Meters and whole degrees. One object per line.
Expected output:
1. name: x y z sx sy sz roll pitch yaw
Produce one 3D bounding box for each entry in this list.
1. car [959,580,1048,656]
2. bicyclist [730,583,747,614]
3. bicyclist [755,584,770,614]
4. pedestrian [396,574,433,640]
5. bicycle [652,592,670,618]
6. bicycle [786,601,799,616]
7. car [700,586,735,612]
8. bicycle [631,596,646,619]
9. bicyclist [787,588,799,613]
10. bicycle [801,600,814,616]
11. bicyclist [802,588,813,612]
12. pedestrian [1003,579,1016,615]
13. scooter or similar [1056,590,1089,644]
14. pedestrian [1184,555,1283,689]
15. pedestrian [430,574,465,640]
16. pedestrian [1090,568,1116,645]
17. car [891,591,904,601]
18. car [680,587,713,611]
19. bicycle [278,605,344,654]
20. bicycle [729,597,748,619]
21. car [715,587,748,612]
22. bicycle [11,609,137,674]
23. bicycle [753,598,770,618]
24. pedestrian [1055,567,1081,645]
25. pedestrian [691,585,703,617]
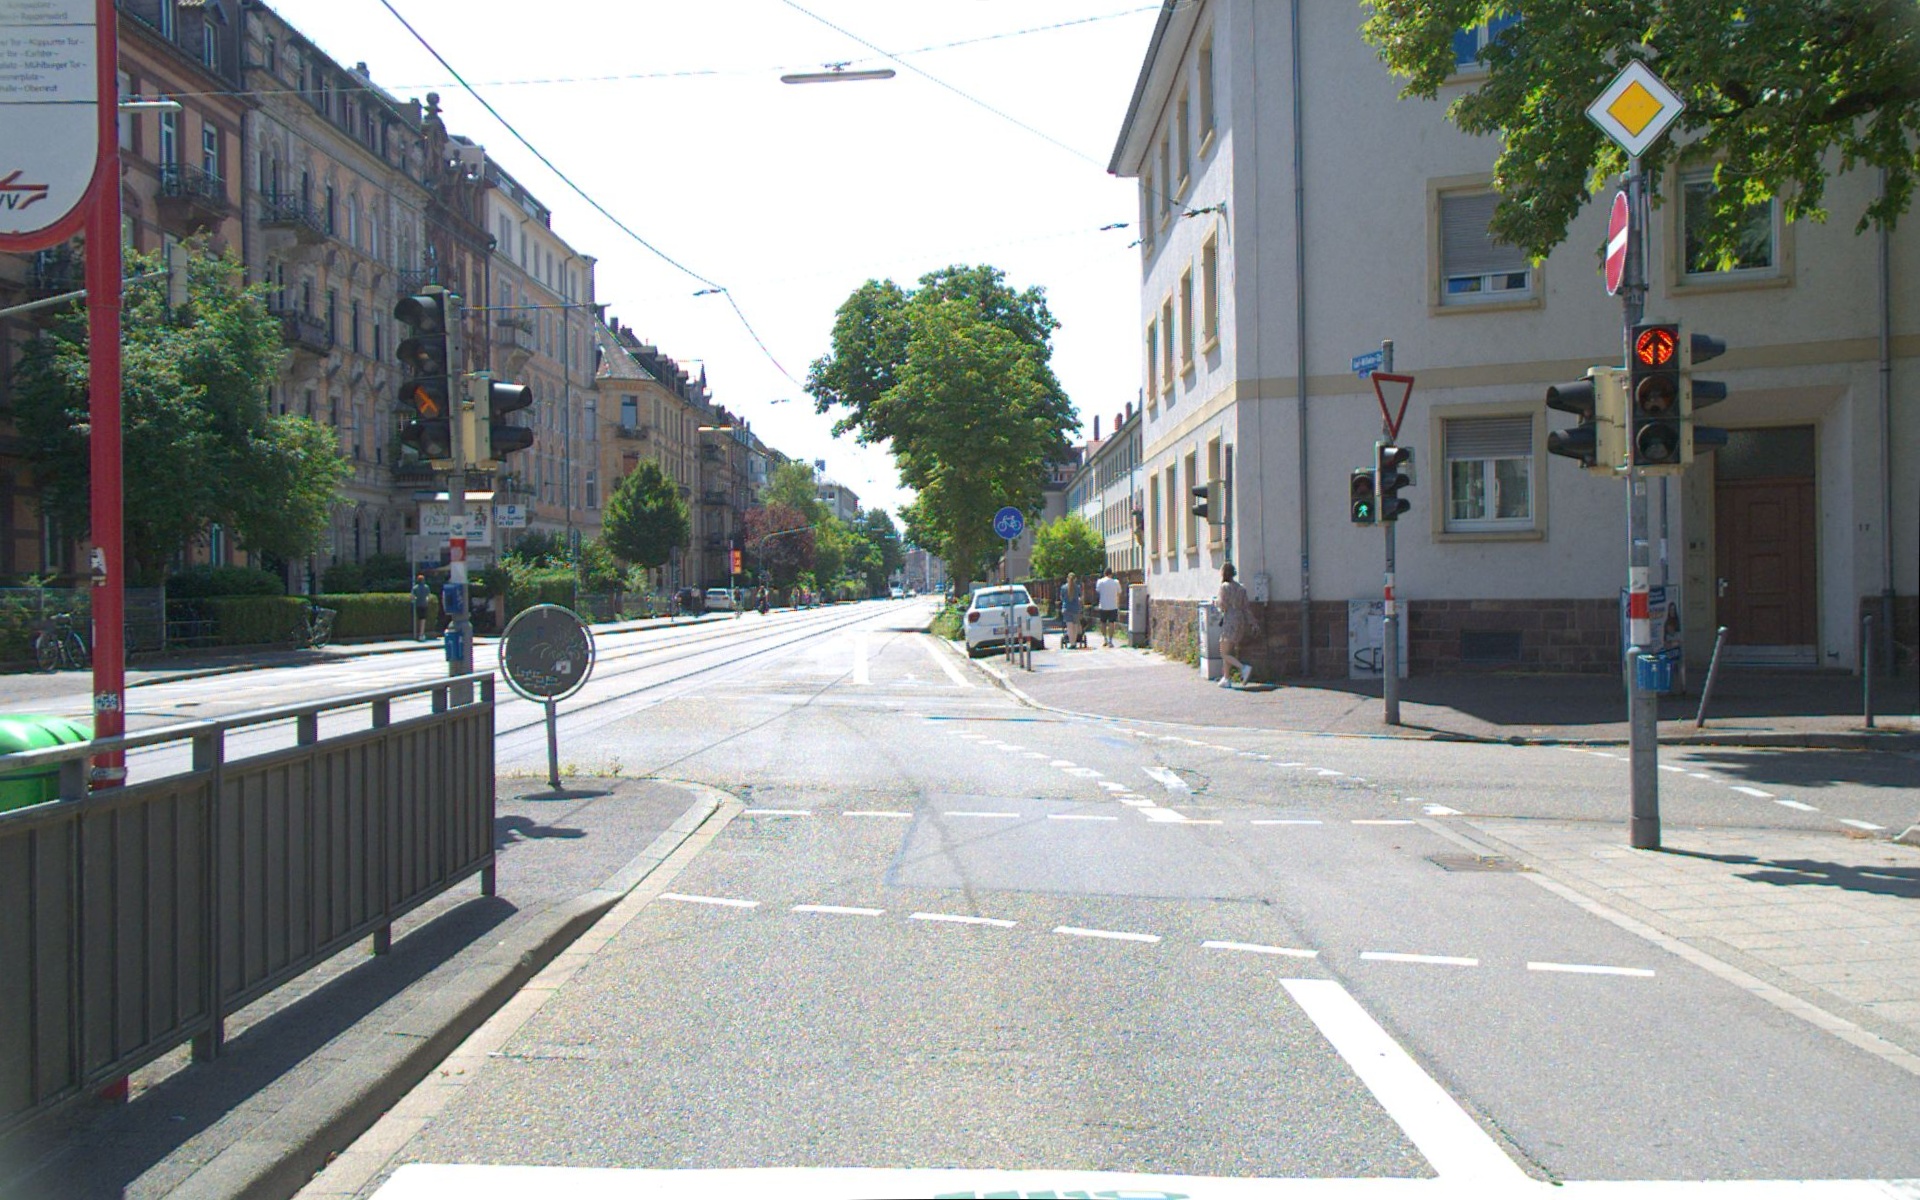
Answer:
1. car: 0.925 0.398 37.319 1.778 1.542 3.999 -3 0 -1
2. bicyclist: -11.969 -0.089 89.412 0.712 1.657 1.079 1 0 1
3. bicyclist: -12.009 -0.082 100.448 0.712 1.799 1.079 1 0 1
4. pedestrian: -15.525 0.191 47.069 0.800 1.854 0.872 1 1 -6
5. bicycle: -15.279 0.249 84.436 0.664 1.301 1.917 -1 0 -4
6. bicycle: -12.520 0.627 124.009 0.712 1.142 2.085 1 0 1
7. car: -16.878 -0.054 115.313 1.880 1.745 3.999 1 0 -1
8. bicycle: -15.502 0.335 79.788 0.665 1.083 1.913 -1 0 -12
9. bicyclist: -12.507 0.025 124.007 0.712 1.850 1.079 1 0 1
10. bicycle: -11.442 0.618 124.130 0.712 1.142 2.085 1 0 1
11. bicyclist: -11.446 0.003 124.170 0.712 1.850 1.079 1 0 1
12. pedestrian: 2.230 -0.150 74.563 0.511 1.590 0.573 -1 0 -1
13. scooter or similar: 2.514 0.378 36.838 0.545 1.175 1.206 1 0 12
14. pedestrian: 3.726 0.296 22.560 0.647 1.719 1.043 -8 4 -38
15. pedestrian: -14.754 0.189 47.635 0.800 1.854 0.872 1 1 -6
16. pedestrian: 3.129 0.140 36.239 0.545 1.674 0.677 1 -1 4
17. car: -8.712 -0.585 231.477 1.671 1.300 3.999 1 0 -1
18. car: -19.678 -0.068 123.608 1.880 1.745 3.999 1 0 -1
19. bicycle: -15.872 0.699 40.518 0.920 1.156 2.767 1 0 -9
20. bicycle: -11.969 0.445 89.402 0.712 1.142 2.085 1 0 1
21. car: -17.047 -0.023 123.574 1.880 1.745 3.999 1 0 -1
22. bicycle: -16.716 0.758 31.305 0.918 1.156 2.773 1 0 -2
23. bicycle: -12.036 0.490 100.352 0.712 1.142 2.085 1 0 1
24. pedestrian: 2.345 0.125 35.897 0.545 1.674 0.677 1 -1 4
25. pedestrian: -14.062 0.074 88.379 0.510 1.688 0.529 -1 0 -1
